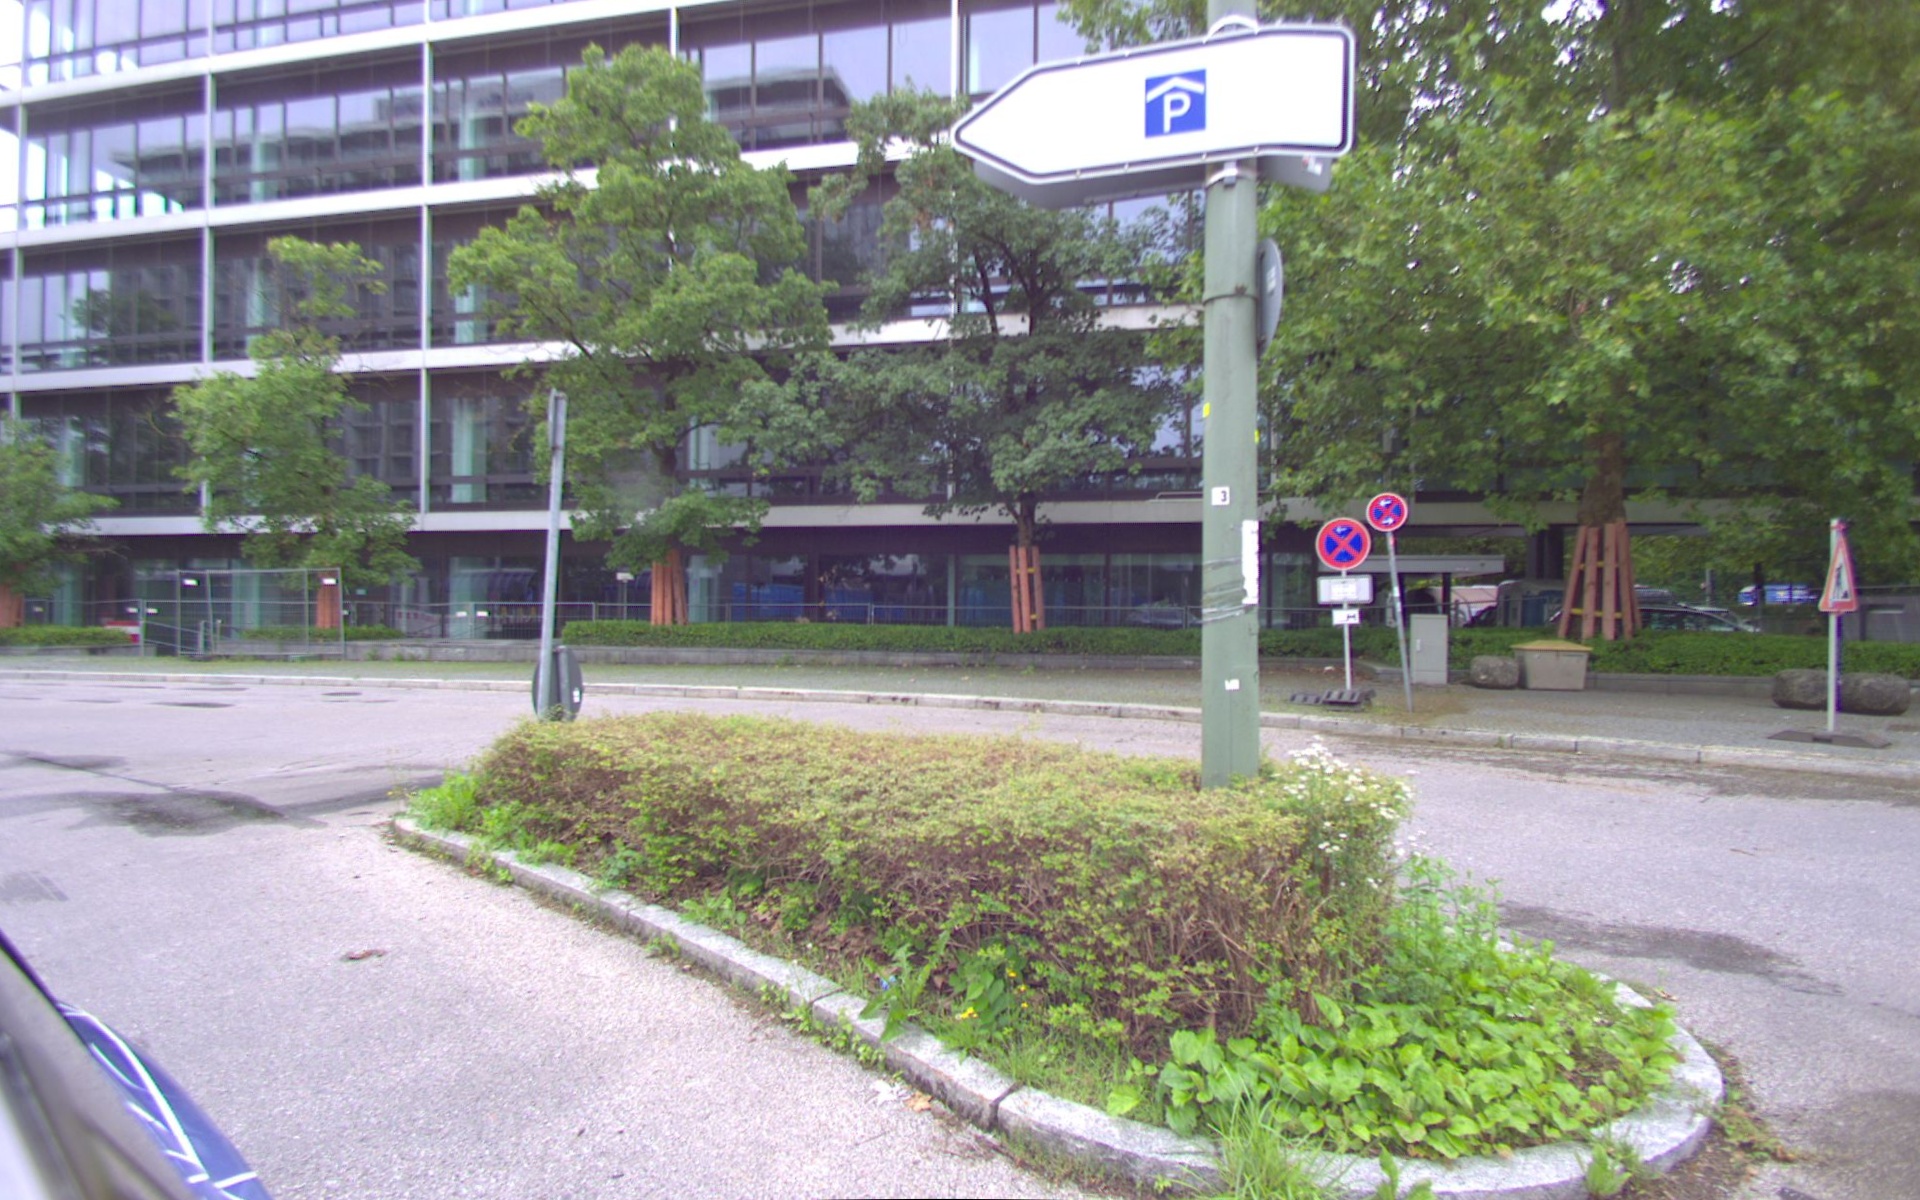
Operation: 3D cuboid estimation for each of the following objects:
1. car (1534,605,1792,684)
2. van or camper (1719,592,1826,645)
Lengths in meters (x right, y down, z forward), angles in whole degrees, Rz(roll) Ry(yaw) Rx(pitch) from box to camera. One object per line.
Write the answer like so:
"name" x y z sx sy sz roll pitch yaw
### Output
"car" 14.058 0.853 20.502 3.824 1.484 1.904 0 -1 15
"van or camper" 42.017 0.938 52.499 2.252 2.615 4.639 0 -1 8
